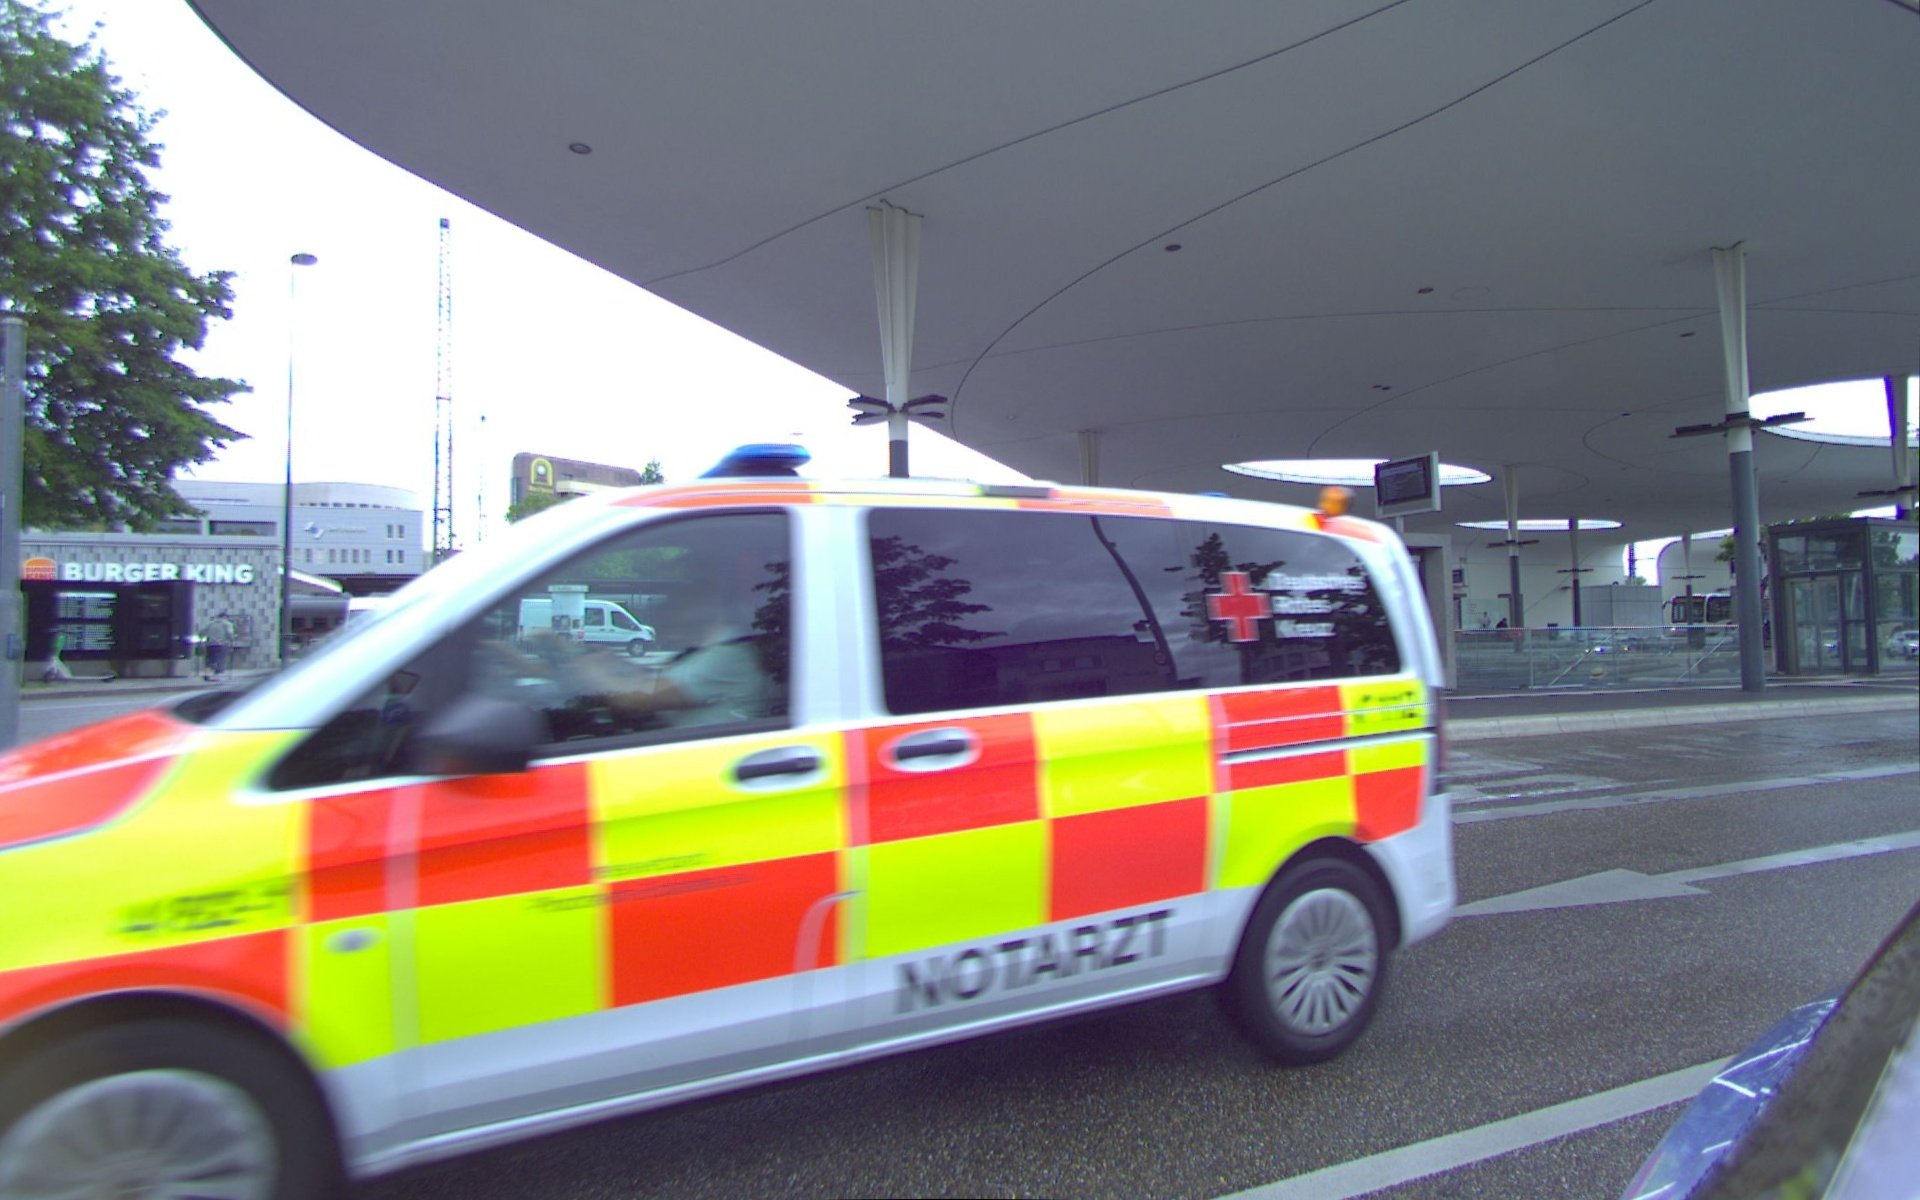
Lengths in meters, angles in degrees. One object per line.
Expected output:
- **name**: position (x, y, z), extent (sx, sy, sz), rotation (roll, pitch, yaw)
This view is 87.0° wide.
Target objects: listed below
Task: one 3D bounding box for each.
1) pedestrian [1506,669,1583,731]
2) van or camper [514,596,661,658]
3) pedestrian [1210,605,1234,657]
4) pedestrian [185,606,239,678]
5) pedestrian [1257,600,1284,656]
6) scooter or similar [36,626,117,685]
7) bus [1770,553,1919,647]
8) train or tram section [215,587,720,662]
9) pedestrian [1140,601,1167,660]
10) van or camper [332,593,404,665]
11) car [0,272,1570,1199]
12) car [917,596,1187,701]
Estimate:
- **pedestrian**: position (11.216, 1.895, 19.445), extent (0.938, 1.068, 0.885), rotation (0, 0, -19)
- **van or camper**: position (-15.837, 1.097, 43.164), extent (5.741, 2.464, 2.004), rotation (0, 0, -22)
- **pedestrian**: position (7.940, 0.934, 30.712), extent (0.514, 1.533, 0.480), rotation (0, -1, -19)
- **pedestrian**: position (-16.586, 0.918, 22.432), extent (0.634, 1.549, 0.829), rotation (0, 0, 38)
- **pedestrian**: position (8.685, 0.777, 28.319), extent (0.524, 1.533, 0.480), rotation (0, -1, -19)
- **scooter or similar**: position (-19.188, 1.187, 21.989), extent (0.331, 1.197, 1.288), rotation (0, 0, 34)
- **bus**: position (35.001, 0.056, 37.171), extent (11.671, 3.121, 2.884), rotation (1, 0, -22)
- **train or tram section**: position (-30.641, 1.364, 66.099), extent (28.696, 4.235, 4.614), rotation (0, 0, -22)
- **pedestrian**: position (5.131, 0.807, 26.807), extent (0.524, 1.533, 0.480), rotation (0, -1, -19)
- **van or camper**: position (-22.028, 0.982, 37.839), extent (2.122, 2.464, 5.871), rotation (0, 0, -28)
- **car**: position (-0.474, 0.388, 3.560), extent (4.956, 2.039, 2.003), rotation (0, 0, -24)
- **car**: position (1.657, 0.790, 18.384), extent (4.447, 1.702, 2.004), rotation (0, 0, -22)
